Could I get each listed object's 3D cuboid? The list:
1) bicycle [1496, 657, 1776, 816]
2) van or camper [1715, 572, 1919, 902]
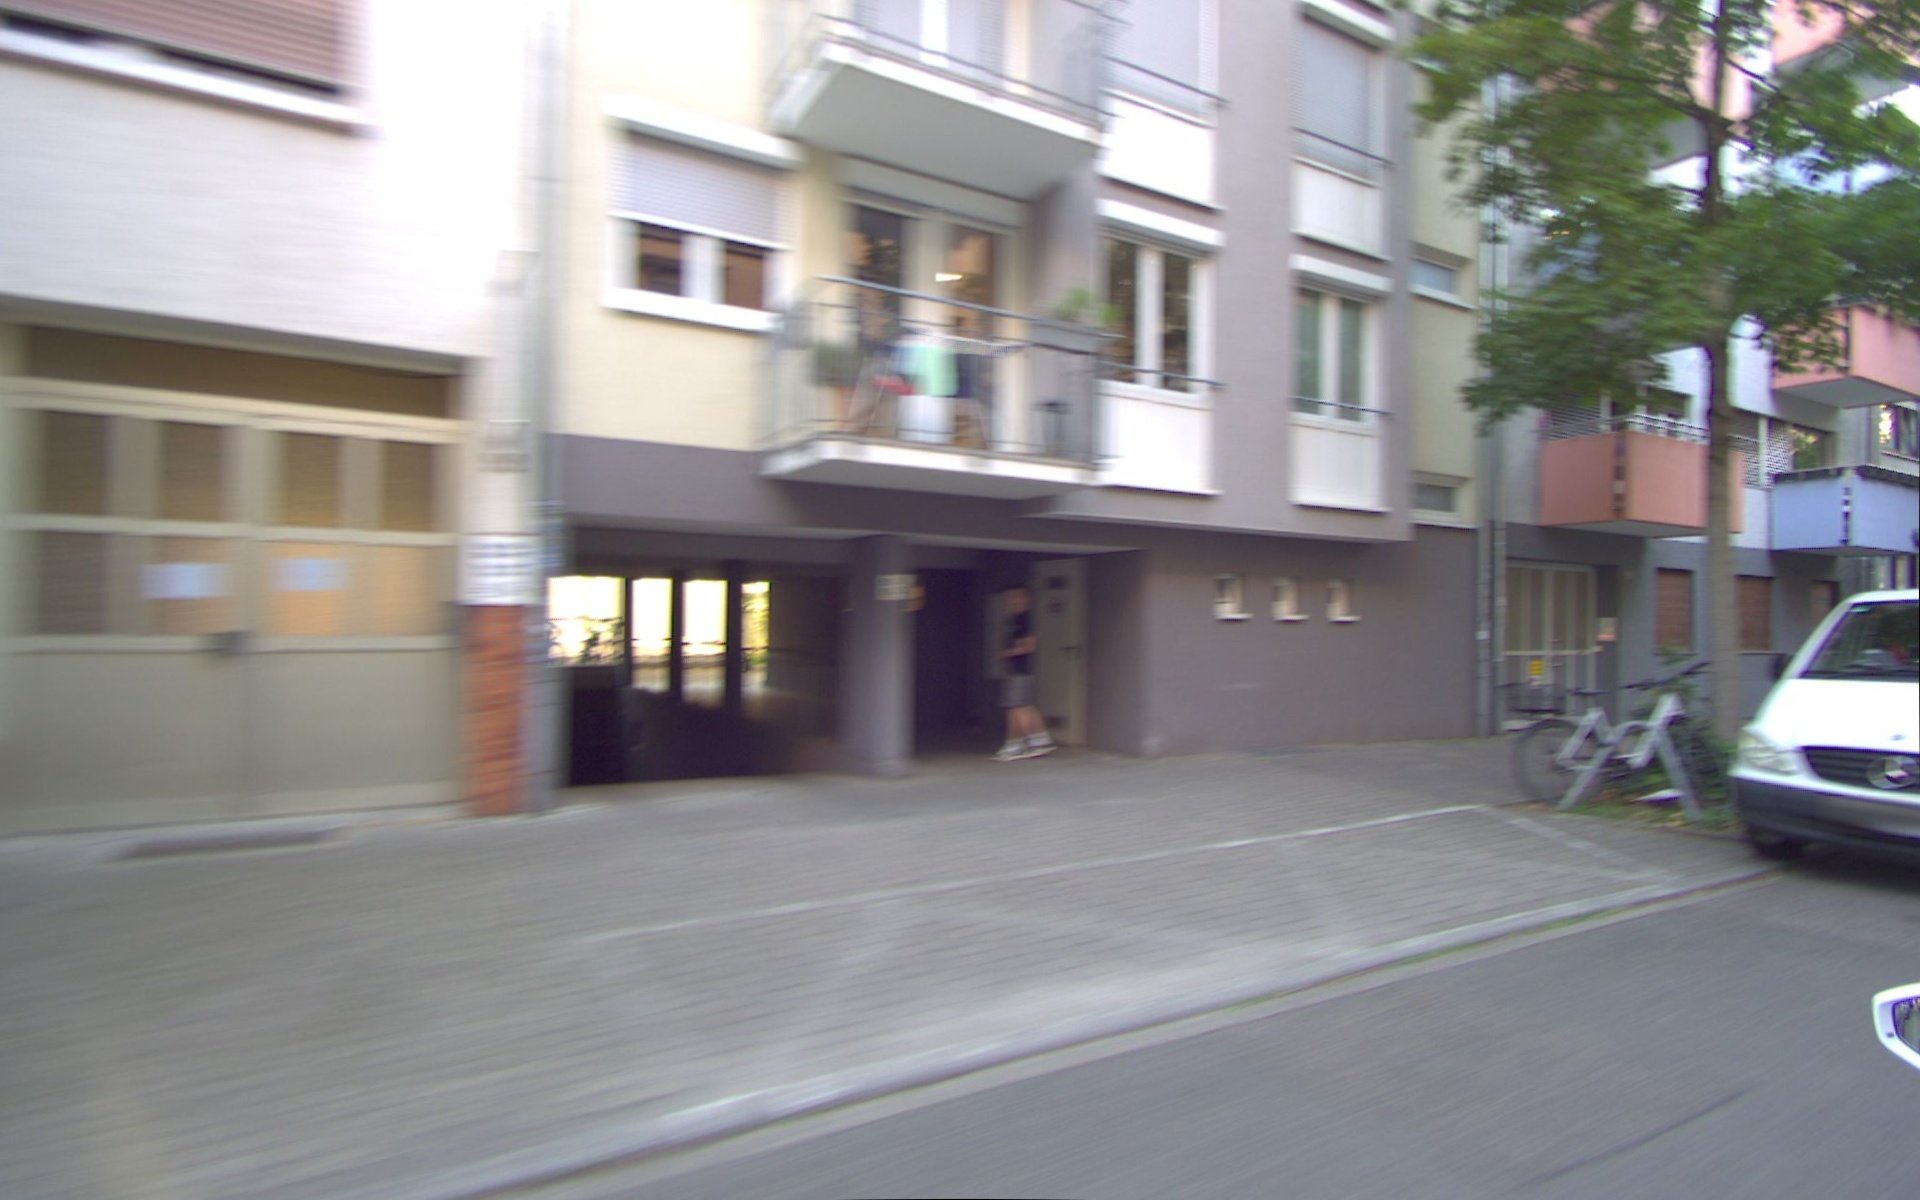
[{"bbox_3d":[5.519,1.083,8.313,1.786,1.179,0.699,0,-1,12],"label":"bicycle"},{"bbox_3d":[7.390,0.821,6.996,4.700,1.867,1.867,1,-1,-32],"label":"van or camper"}]
